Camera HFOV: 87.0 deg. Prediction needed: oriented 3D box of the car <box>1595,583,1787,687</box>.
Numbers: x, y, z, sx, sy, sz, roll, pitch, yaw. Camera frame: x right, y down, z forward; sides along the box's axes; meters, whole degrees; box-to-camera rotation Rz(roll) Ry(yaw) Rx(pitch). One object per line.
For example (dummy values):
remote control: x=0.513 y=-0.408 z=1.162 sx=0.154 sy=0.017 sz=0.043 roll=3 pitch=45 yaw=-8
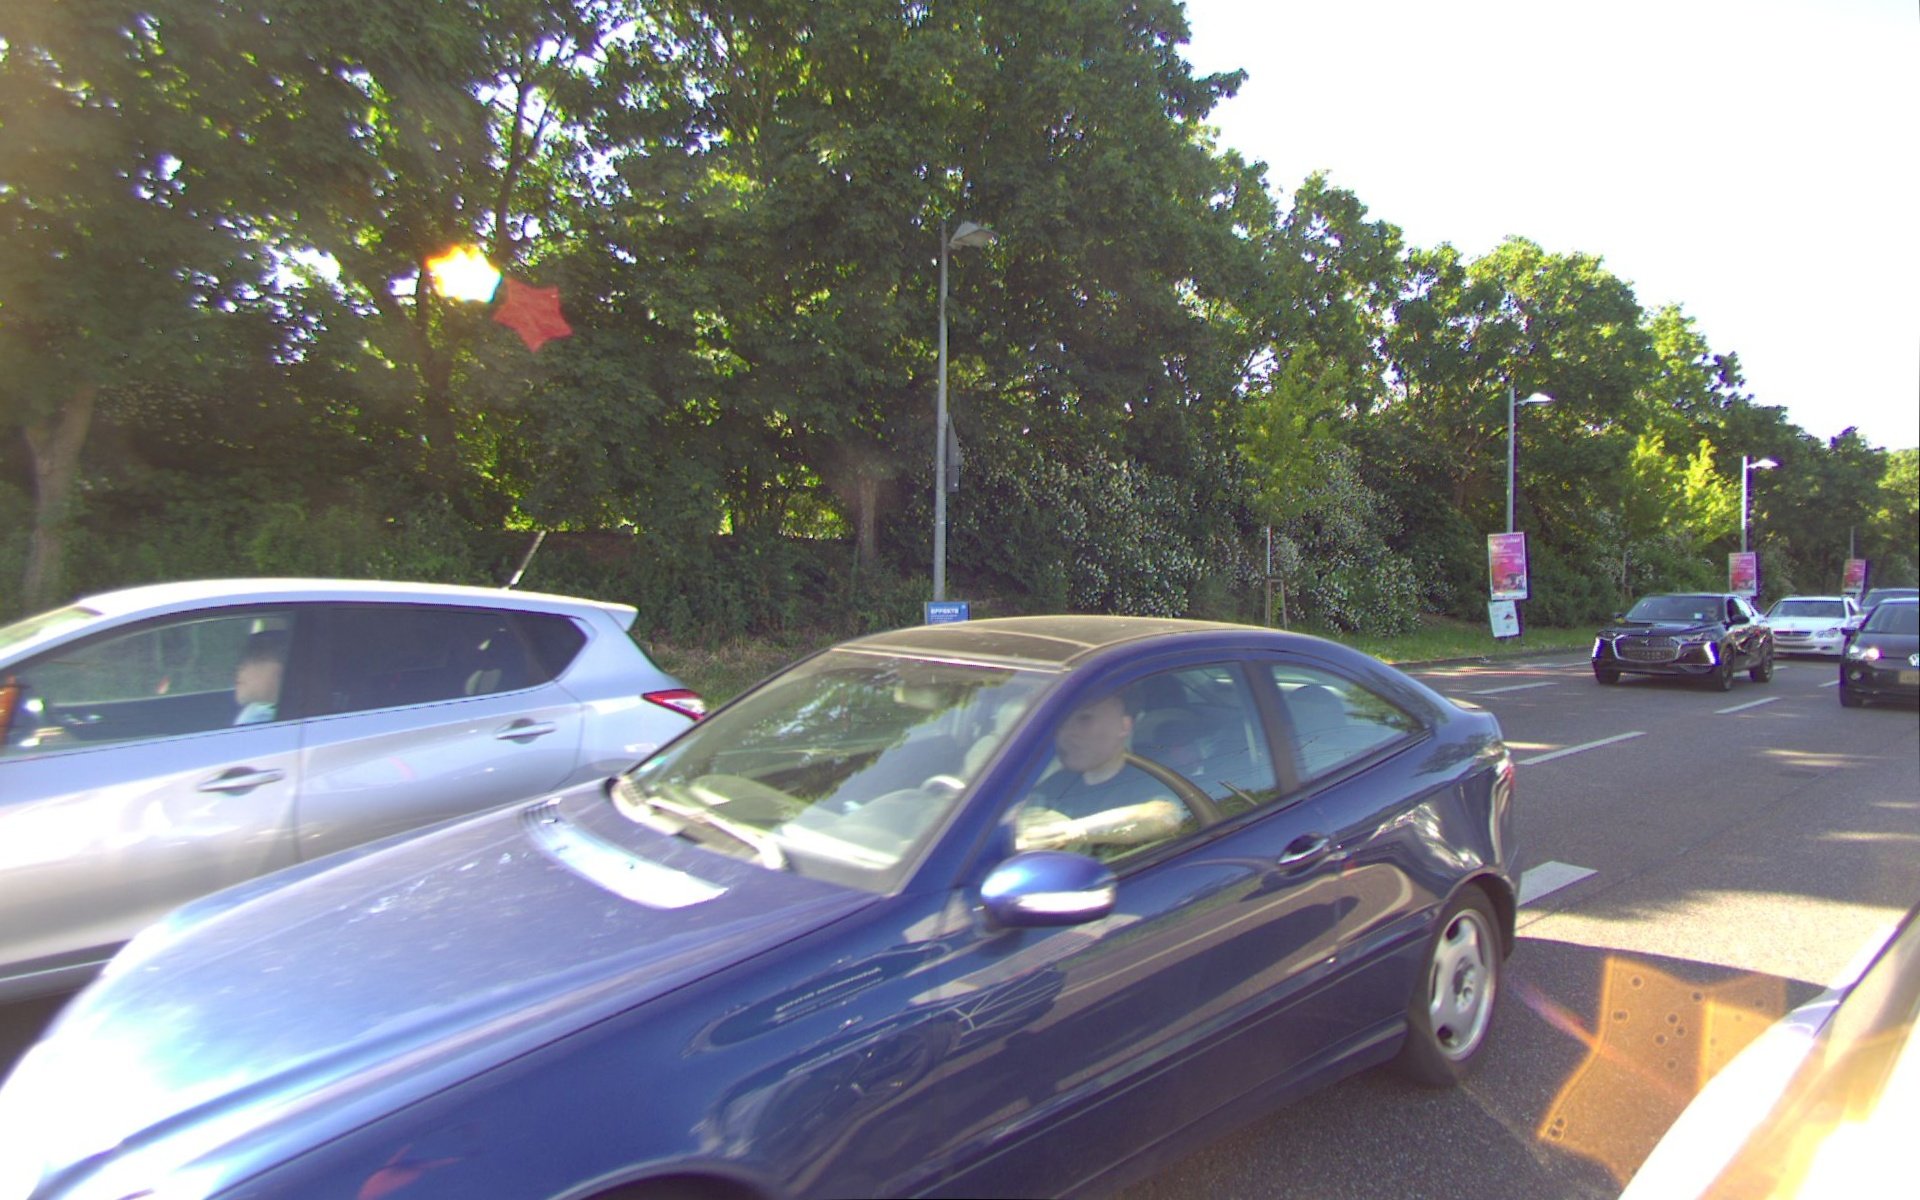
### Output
car: x=12.185 y=0.478 z=16.789 sx=3.894 sy=1.512 sz=1.713 roll=-1 pitch=1 yaw=-40

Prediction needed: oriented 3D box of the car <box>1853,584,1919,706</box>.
car: x=13.329 y=0.544 z=13.567 sx=3.393 sy=1.512 sz=1.620 roll=-1 pitch=1 yaw=-41

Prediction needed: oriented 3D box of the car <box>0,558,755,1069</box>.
car: x=-3.048 y=0.635 z=4.043 sx=4.064 sy=1.536 sz=1.725 roll=-1 pitch=0 yaw=-40

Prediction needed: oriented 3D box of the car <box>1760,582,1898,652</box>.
car: x=20.046 y=0.327 z=23.283 sx=4.309 sy=1.454 sz=1.748 roll=-1 pitch=1 yaw=-40

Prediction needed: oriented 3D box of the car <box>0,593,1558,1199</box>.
car: x=0.028 y=0.726 z=2.906 sx=3.979 sy=1.437 sz=1.722 roll=-1 pitch=1 yaw=-41

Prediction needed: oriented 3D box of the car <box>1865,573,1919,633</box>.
car: x=28.377 y=0.069 z=30.041 sx=3.930 sy=1.682 sz=1.748 roll=-1 pitch=2 yaw=-41
